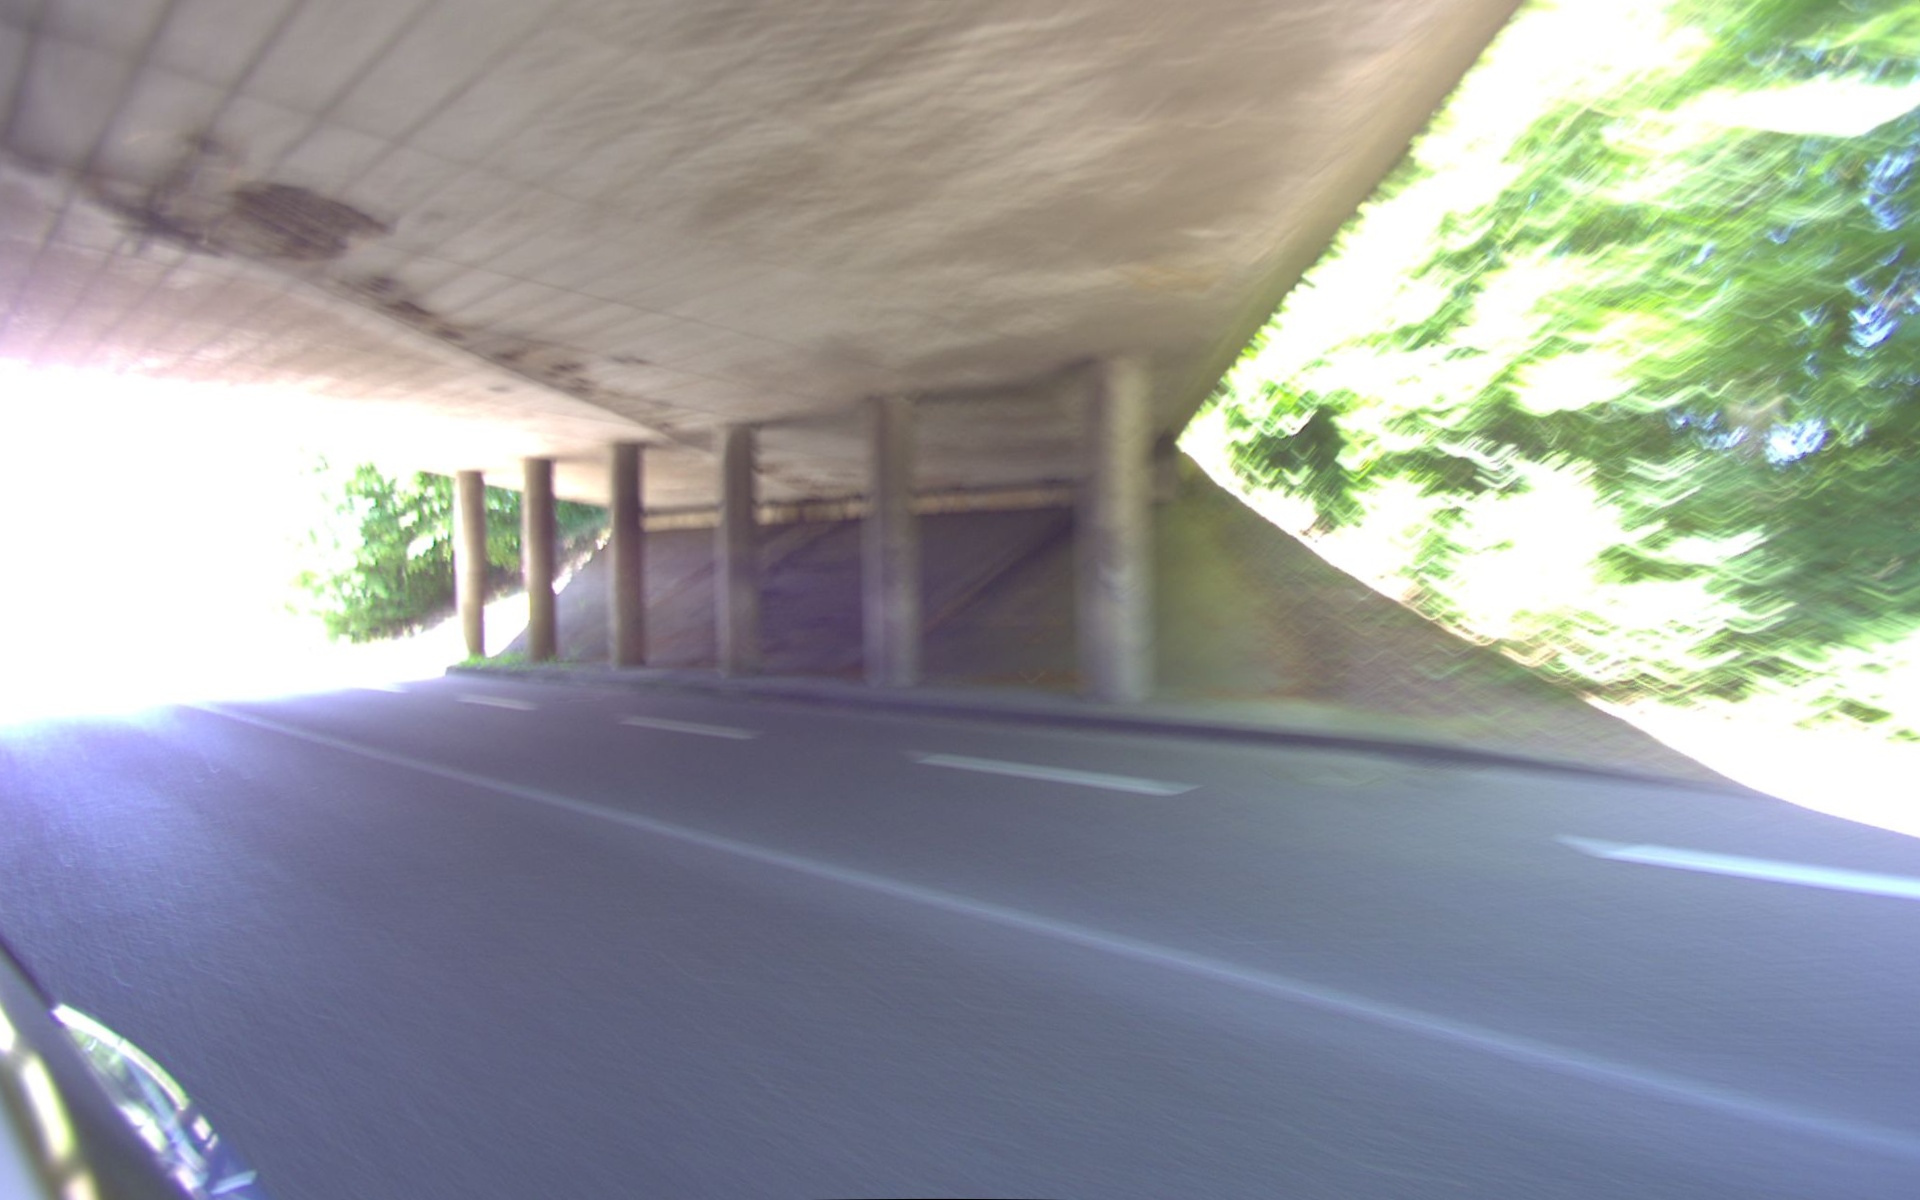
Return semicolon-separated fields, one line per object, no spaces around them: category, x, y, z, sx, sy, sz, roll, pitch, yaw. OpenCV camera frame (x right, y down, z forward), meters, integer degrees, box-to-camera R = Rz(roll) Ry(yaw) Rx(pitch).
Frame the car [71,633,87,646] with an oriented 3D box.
car;-144.089;6.425;165.520;1.818;2.029;4.005;1;-3;-42

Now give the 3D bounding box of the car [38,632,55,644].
car;-148.893;6.145;164.982;1.969;1.978;4.004;2;-3;-42
